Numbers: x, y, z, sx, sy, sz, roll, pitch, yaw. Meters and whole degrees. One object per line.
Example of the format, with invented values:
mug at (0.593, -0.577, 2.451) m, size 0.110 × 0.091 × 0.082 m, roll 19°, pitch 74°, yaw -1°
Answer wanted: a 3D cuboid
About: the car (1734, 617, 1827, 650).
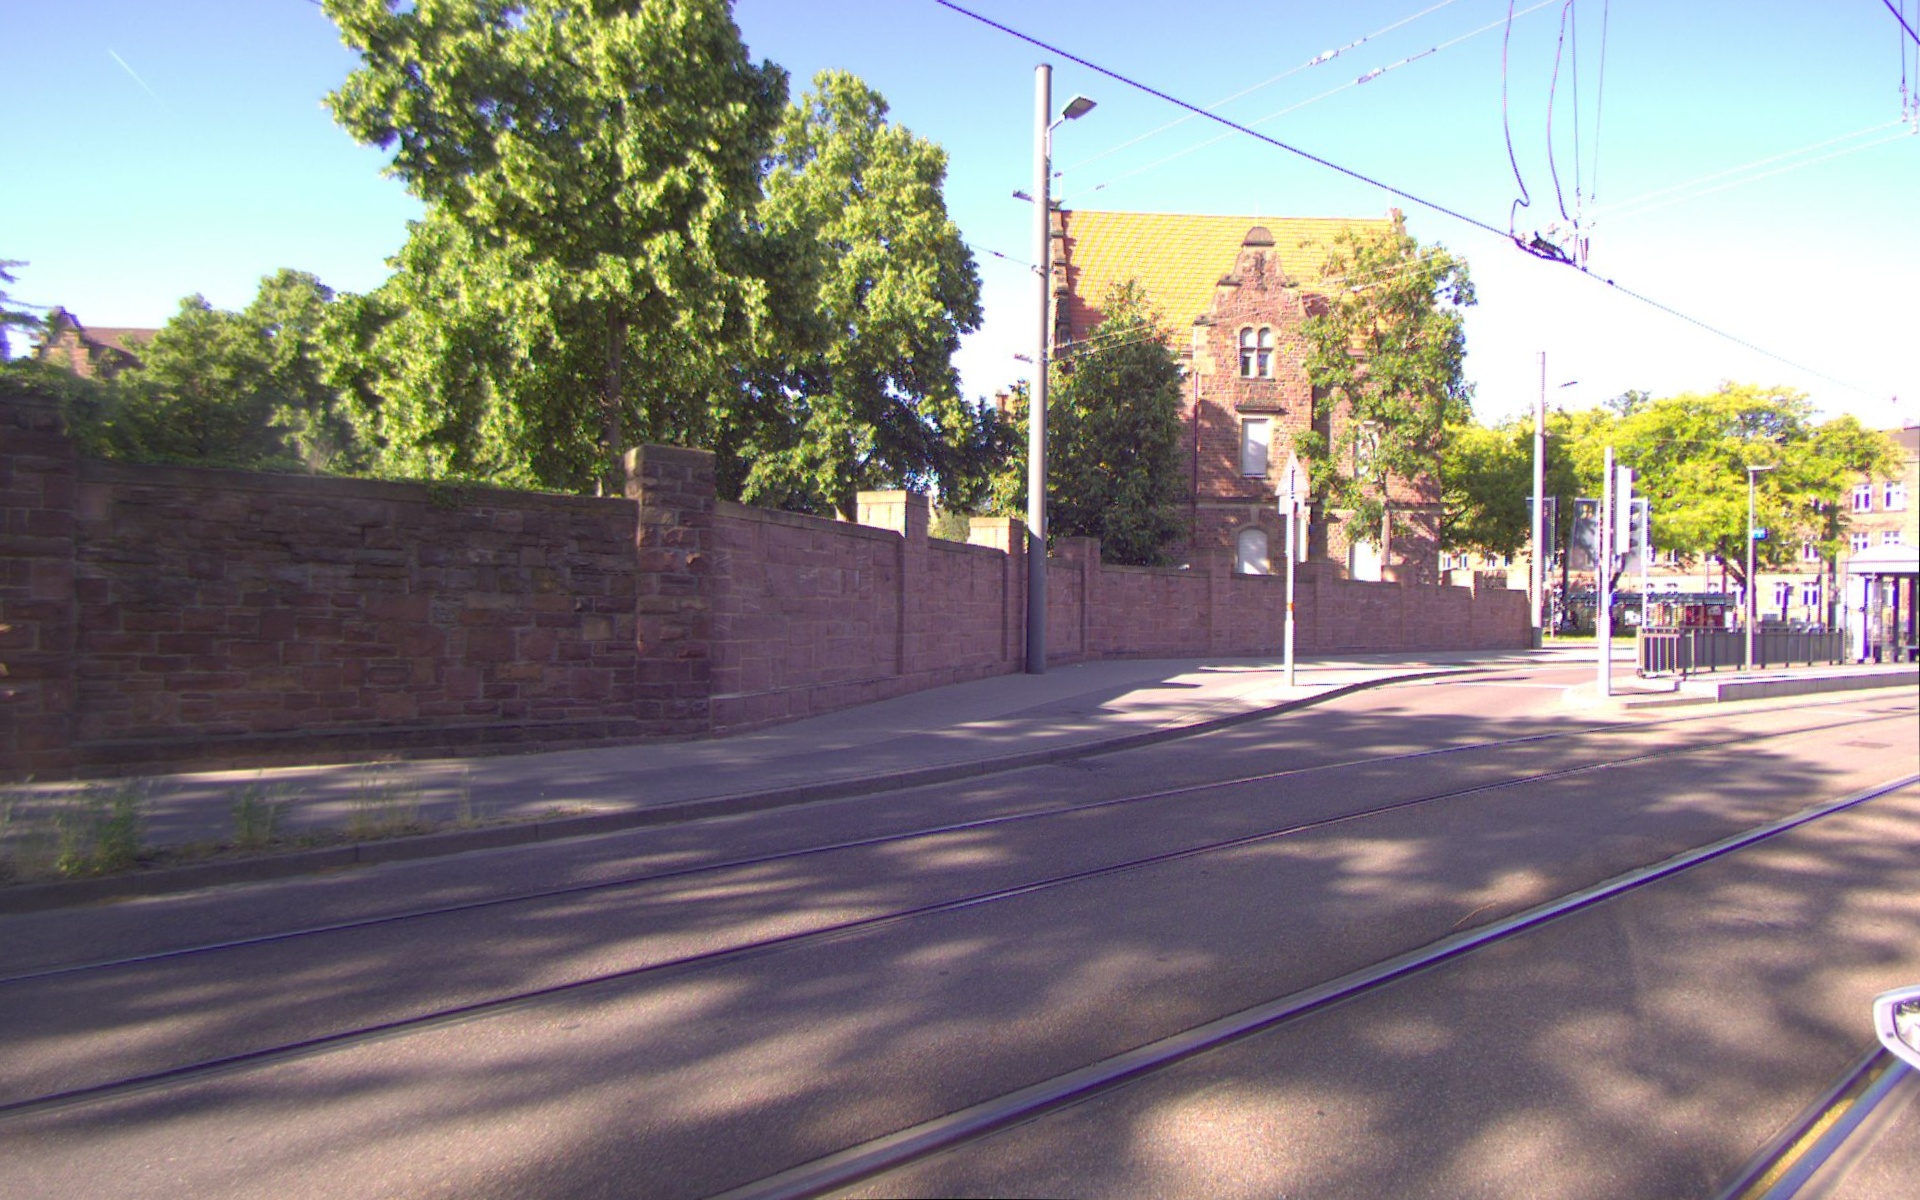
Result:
car at (49.379, 1.989, 60.498) m, size 1.980 × 1.814 × 3.960 m, roll 1°, pitch 1°, yaw -35°
